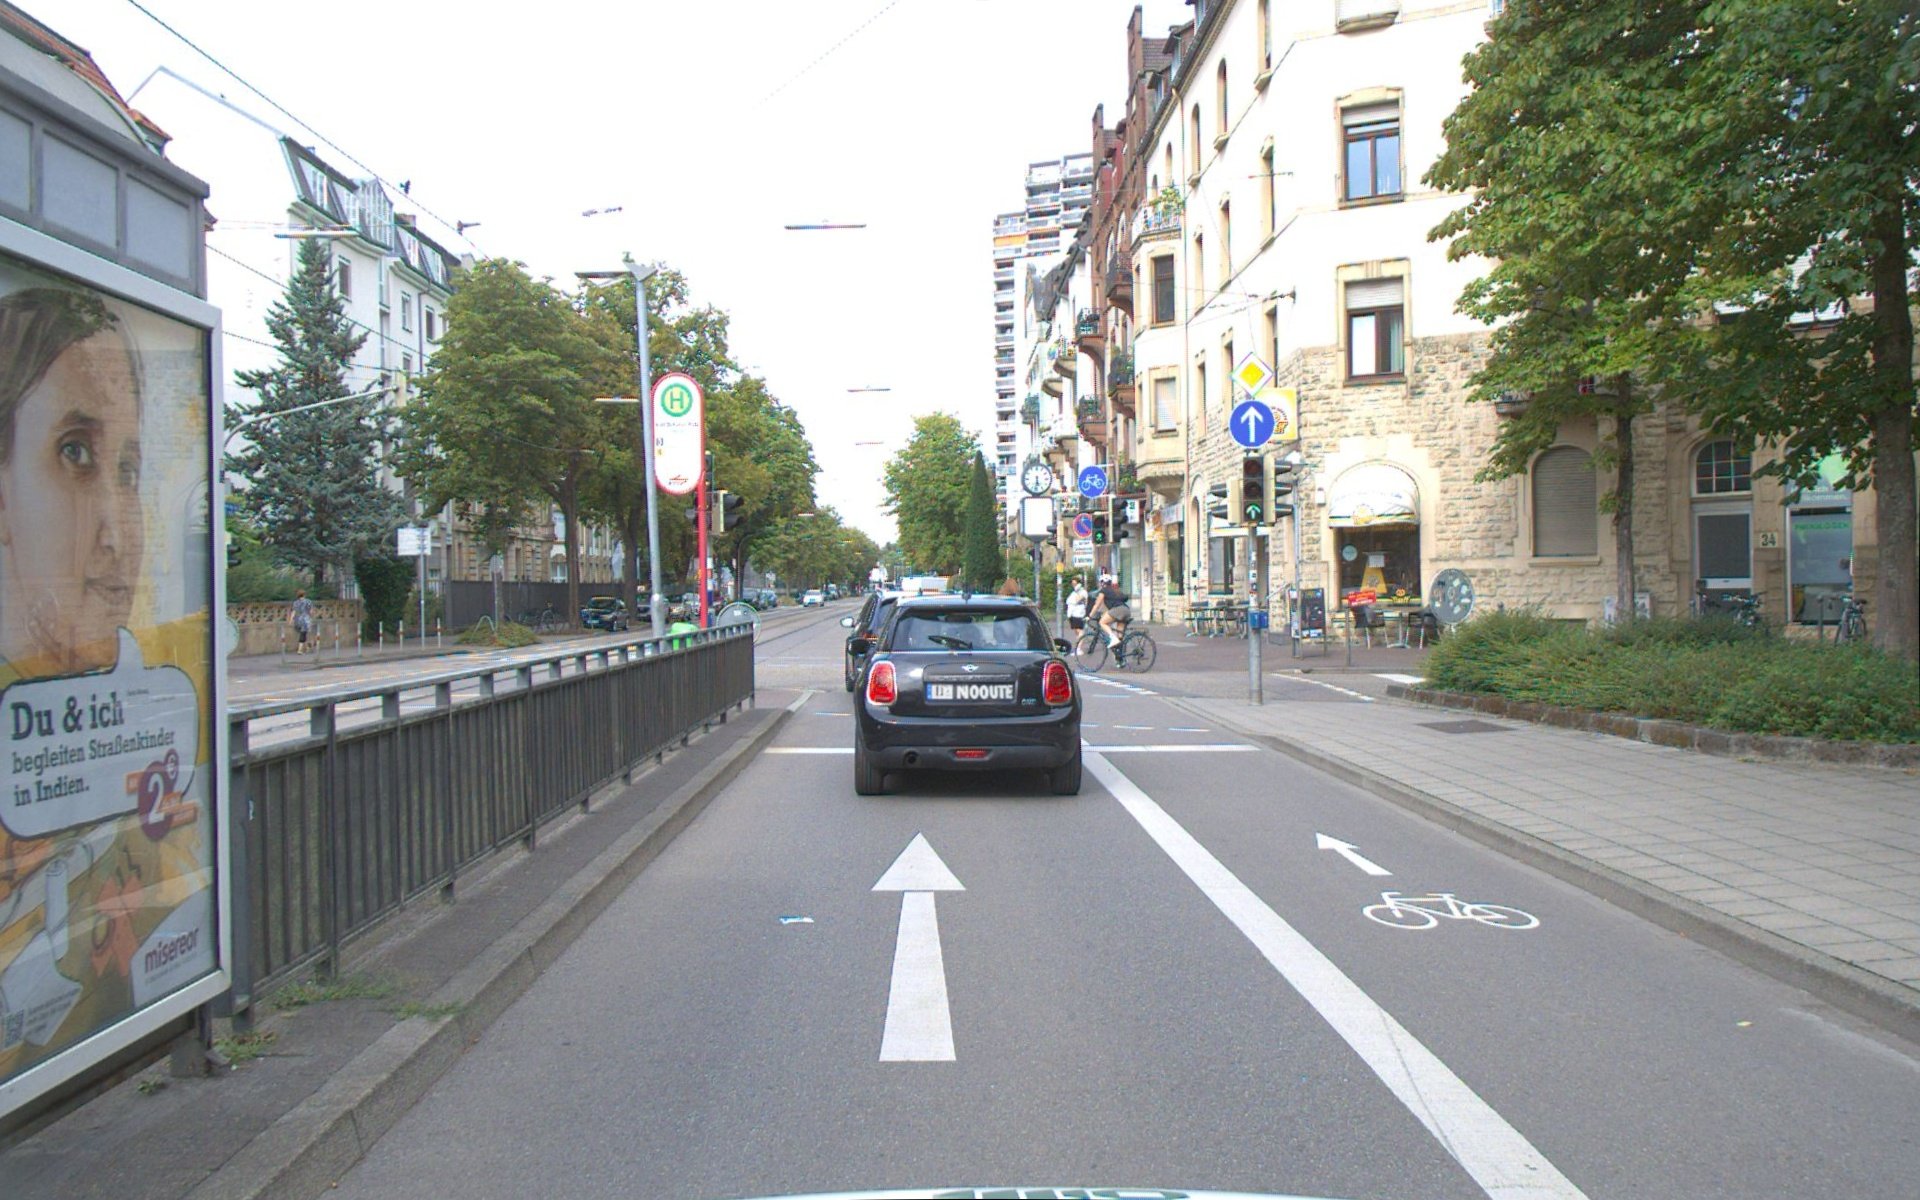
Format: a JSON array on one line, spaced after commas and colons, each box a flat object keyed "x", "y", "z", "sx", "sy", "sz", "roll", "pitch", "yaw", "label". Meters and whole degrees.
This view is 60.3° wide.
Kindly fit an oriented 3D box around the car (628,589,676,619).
[{"x": -15.495, "y": 0.192, "z": 83.363, "sx": 1.731, "sy": 1.419, "sz": 3.999, "roll": -1, "pitch": 1, "yaw": -2, "label": "car"}]

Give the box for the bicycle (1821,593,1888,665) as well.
[{"x": 12.999, "y": 0.407, "z": 24.019, "sx": 0.523, "sy": 0.989, "sz": 1.640, "roll": -1, "pitch": 1, "yaw": 40, "label": "bicycle"}]

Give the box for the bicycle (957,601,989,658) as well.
[{"x": 0.289, "y": 0.631, "z": 36.553, "sx": 0.670, "sy": 1.190, "sz": 1.697, "roll": -1, "pitch": 1, "yaw": 1, "label": "bicycle"}]

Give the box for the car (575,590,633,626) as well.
[{"x": -15.322, "y": 0.323, "z": 71.340, "sx": 1.731, "sy": 1.419, "sz": 3.999, "roll": -1, "pitch": 1, "yaw": -2, "label": "car"}]

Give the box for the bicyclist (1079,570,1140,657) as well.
[{"x": 2.650, "y": 0.233, "z": 29.266, "sx": 0.894, "sy": 1.498, "sz": 0.616, "roll": -1, "pitch": 1, "yaw": 23, "label": "bicyclist"}]

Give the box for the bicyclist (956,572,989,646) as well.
[{"x": 0.275, "y": 0.187, "z": 36.492, "sx": 0.670, "sy": 1.591, "sz": 0.998, "roll": -1, "pitch": 1, "yaw": 1, "label": "bicyclist"}]

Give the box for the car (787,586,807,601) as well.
[{"x": -18.251, "y": -0.777, "z": 185.454, "sx": 1.953, "sy": 1.579, "sz": 3.999, "roll": -1, "pitch": 1, "yaw": -1, "label": "car"}]

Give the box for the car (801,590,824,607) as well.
[{"x": -12.944, "y": -0.115, "z": 144.995, "sx": 1.731, "sy": 1.419, "sz": 3.999, "roll": -1, "pitch": 1, "yaw": -2, "label": "car"}]

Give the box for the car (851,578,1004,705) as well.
[{"x": -0.529, "y": 0.496, "z": 22.650, "sx": 1.889, "sy": 1.536, "sz": 3.997, "roll": -1, "pitch": 1, "yaw": -4, "label": "car"}]

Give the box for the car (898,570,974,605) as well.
[{"x": -1.643, "y": -0.888, "z": 115.988, "sx": 4.997, "sy": 2.312, "sz": 2.360, "roll": -2, "pitch": 1, "yaw": -42, "label": "car"}]

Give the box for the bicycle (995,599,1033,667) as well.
[{"x": 0.992, "y": 0.593, "z": 30.486, "sx": 0.586, "sy": 1.190, "sz": 1.696, "roll": -1, "pitch": 1, "yaw": -1, "label": "bicycle"}]

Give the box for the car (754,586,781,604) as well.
[{"x": -17.379, "y": -0.439, "z": 149.247, "sx": 1.953, "sy": 1.579, "sz": 3.999, "roll": -1, "pitch": 1, "yaw": -1, "label": "car"}]

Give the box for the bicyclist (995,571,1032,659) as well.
[{"x": 0.984, "y": 0.266, "z": 30.479, "sx": 0.582, "sy": 1.577, "sz": 1.013, "roll": -1, "pitch": 1, "yaw": -1, "label": "bicyclist"}]

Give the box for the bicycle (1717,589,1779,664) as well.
[{"x": 12.021, "y": 0.394, "z": 25.219, "sx": 0.441, "sy": 1.073, "sz": 1.640, "roll": -1, "pitch": 1, "yaw": 40, "label": "bicycle"}]

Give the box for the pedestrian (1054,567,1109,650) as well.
[{"x": 2.629, "y": 0.177, "z": 35.762, "sx": 0.829, "sy": 1.703, "sz": 0.720, "roll": -5, "pitch": 1, "yaw": -45, "label": "pedestrian"}]

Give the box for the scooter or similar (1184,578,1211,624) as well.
[{"x": 6.433, "y": 0.017, "z": 44.770, "sx": 0.498, "sy": 1.209, "sz": 1.261, "roll": -1, "pitch": 1, "yaw": -1, "label": "scooter or similar"}]

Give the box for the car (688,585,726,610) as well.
[{"x": -16.820, "y": -0.201, "z": 110.052, "sx": 1.953, "sy": 1.579, "sz": 3.999, "roll": -1, "pitch": 1, "yaw": -1, "label": "car"}]

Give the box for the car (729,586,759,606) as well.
[{"x": -17.358, "y": -0.335, "z": 133.012, "sx": 1.953, "sy": 1.579, "sz": 3.999, "roll": -1, "pitch": 1, "yaw": -1, "label": "car"}]

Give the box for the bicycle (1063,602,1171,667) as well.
[{"x": 2.774, "y": 0.607, "z": 29.215, "sx": 1.778, "sy": 1.095, "sz": 0.616, "roll": -1, "pitch": 1, "yaw": 23, "label": "bicycle"}]

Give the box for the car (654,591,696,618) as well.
[{"x": -15.641, "y": 0.217, "z": 91.034, "sx": 1.731, "sy": 1.419, "sz": 3.999, "roll": -1, "pitch": 1, "yaw": -2, "label": "car"}]

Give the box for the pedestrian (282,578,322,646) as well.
[{"x": -17.888, "y": 0.315, "z": 45.001, "sx": 0.715, "sy": 1.814, "sz": 0.835, "roll": -1, "pitch": 0, "yaw": -1, "label": "pedestrian"}]

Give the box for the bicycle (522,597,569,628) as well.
[{"x": -15.999, "y": 0.468, "z": 63.852, "sx": 1.657, "sy": 1.138, "sz": 0.564, "roll": -2, "pitch": 1, "yaw": -41, "label": "bicycle"}]

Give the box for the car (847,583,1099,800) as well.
[{"x": 0.068, "y": 0.610, "z": 13.359, "sx": 1.716, "sy": 1.466, "sz": 4.000, "roll": 1, "pitch": 1, "yaw": -1, "label": "car"}]

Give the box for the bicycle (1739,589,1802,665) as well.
[{"x": 12.180, "y": 0.394, "z": 24.841, "sx": 0.441, "sy": 1.073, "sz": 1.640, "roll": -1, "pitch": 1, "yaw": 40, "label": "bicycle"}]

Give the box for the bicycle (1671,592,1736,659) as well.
[{"x": 11.688, "y": 0.394, "z": 25.978, "sx": 0.591, "sy": 0.989, "sz": 1.666, "roll": -1, "pitch": 1, "yaw": 36, "label": "bicycle"}]
